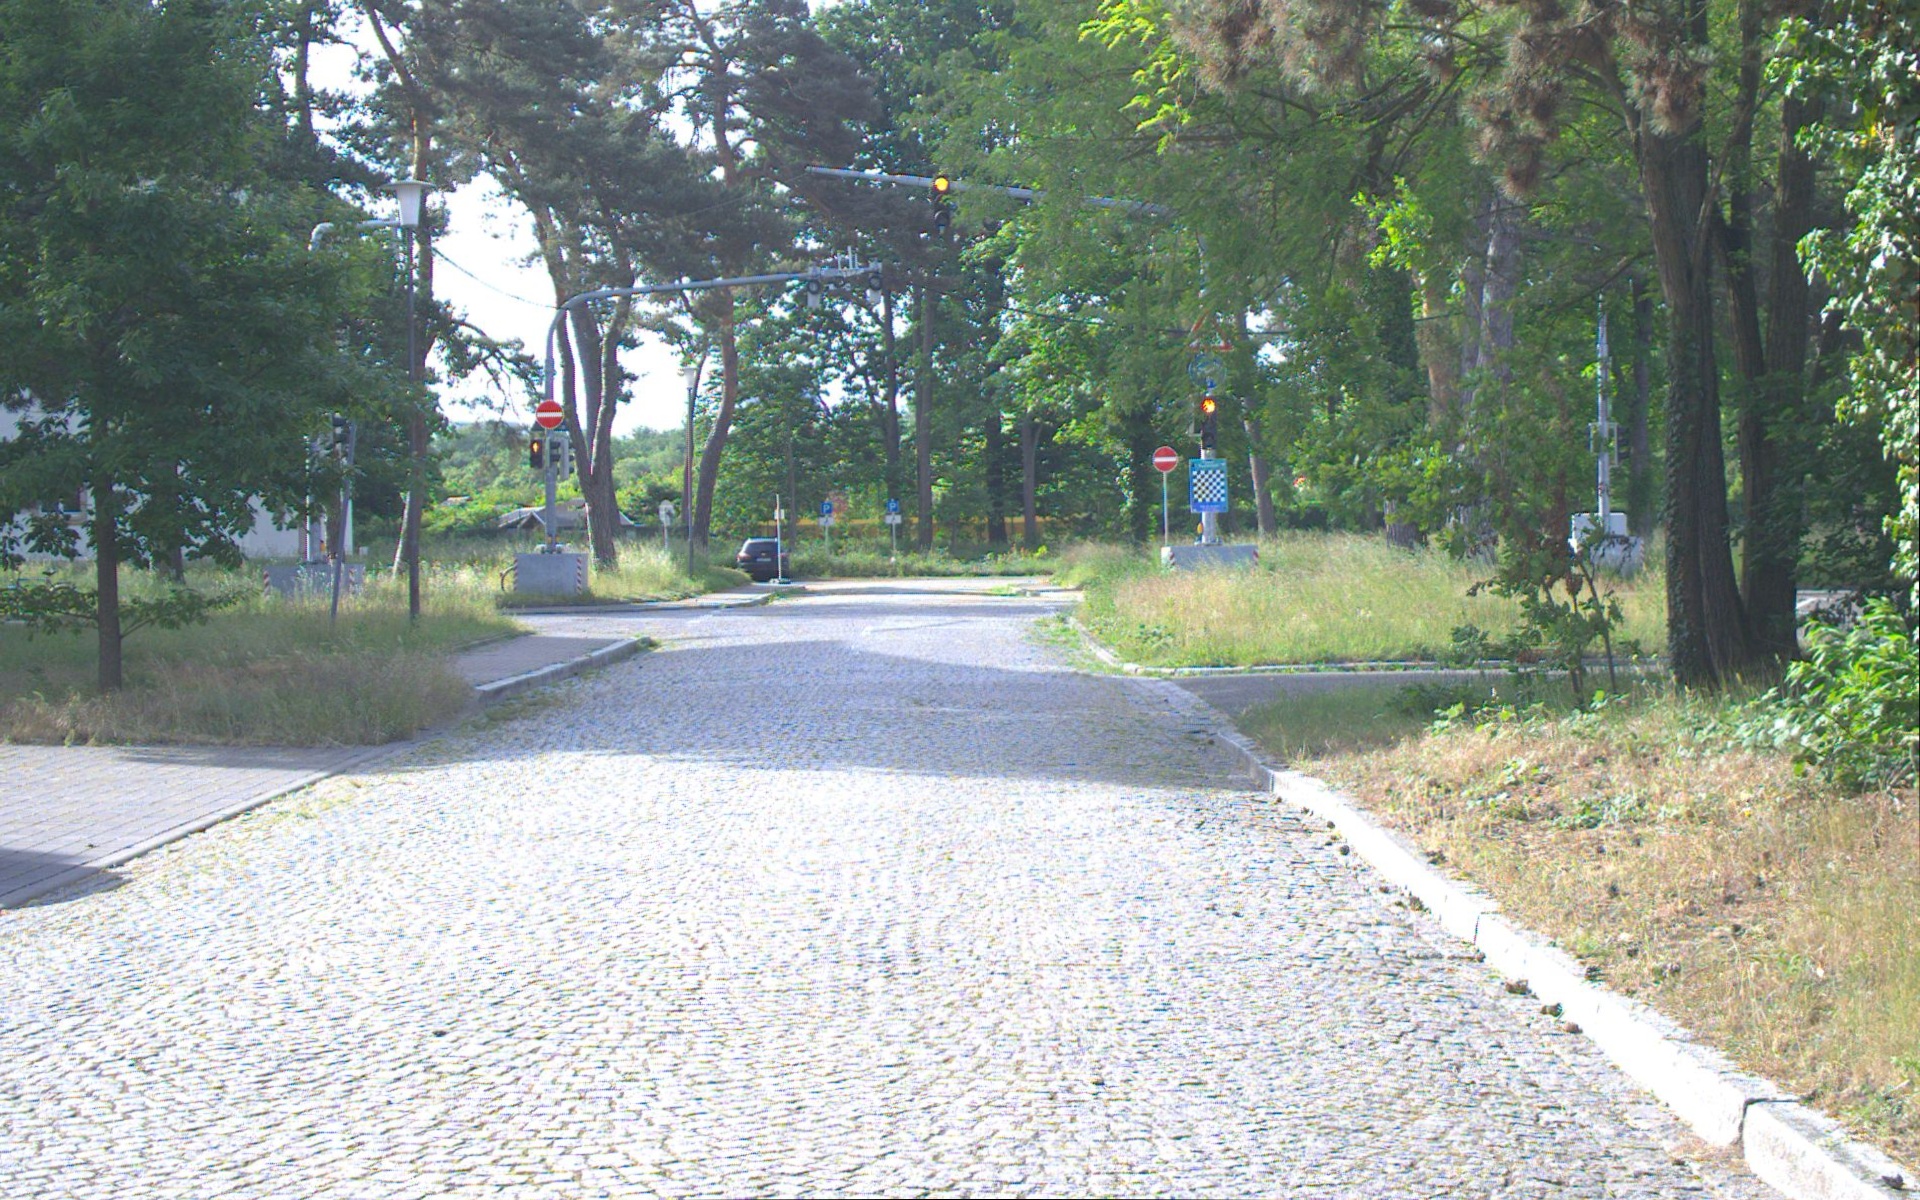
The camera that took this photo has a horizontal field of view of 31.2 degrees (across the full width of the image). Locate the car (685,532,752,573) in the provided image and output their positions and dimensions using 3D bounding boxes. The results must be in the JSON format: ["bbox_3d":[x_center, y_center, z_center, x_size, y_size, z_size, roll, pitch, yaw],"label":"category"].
[{"bbox_3d":[-8.971,-1.775,127.793,1.783,1.485,3.754,-1,1,7],"label":"car"}]

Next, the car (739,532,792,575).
[{"bbox_3d":[-6.941,-1.683,123.050,1.845,1.481,4.001,-1,1,-3],"label":"car"}]

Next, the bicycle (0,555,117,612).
[{"bbox_3d":[-17.234,-0.327,65.597,2.117,1.043,0.829,-1,1,-3],"label":"bicycle"}]

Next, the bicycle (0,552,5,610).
[{"bbox_3d":[-19.361,-0.346,65.502,2.117,1.104,0.829,-1,1,-3],"label":"bicycle"}]
